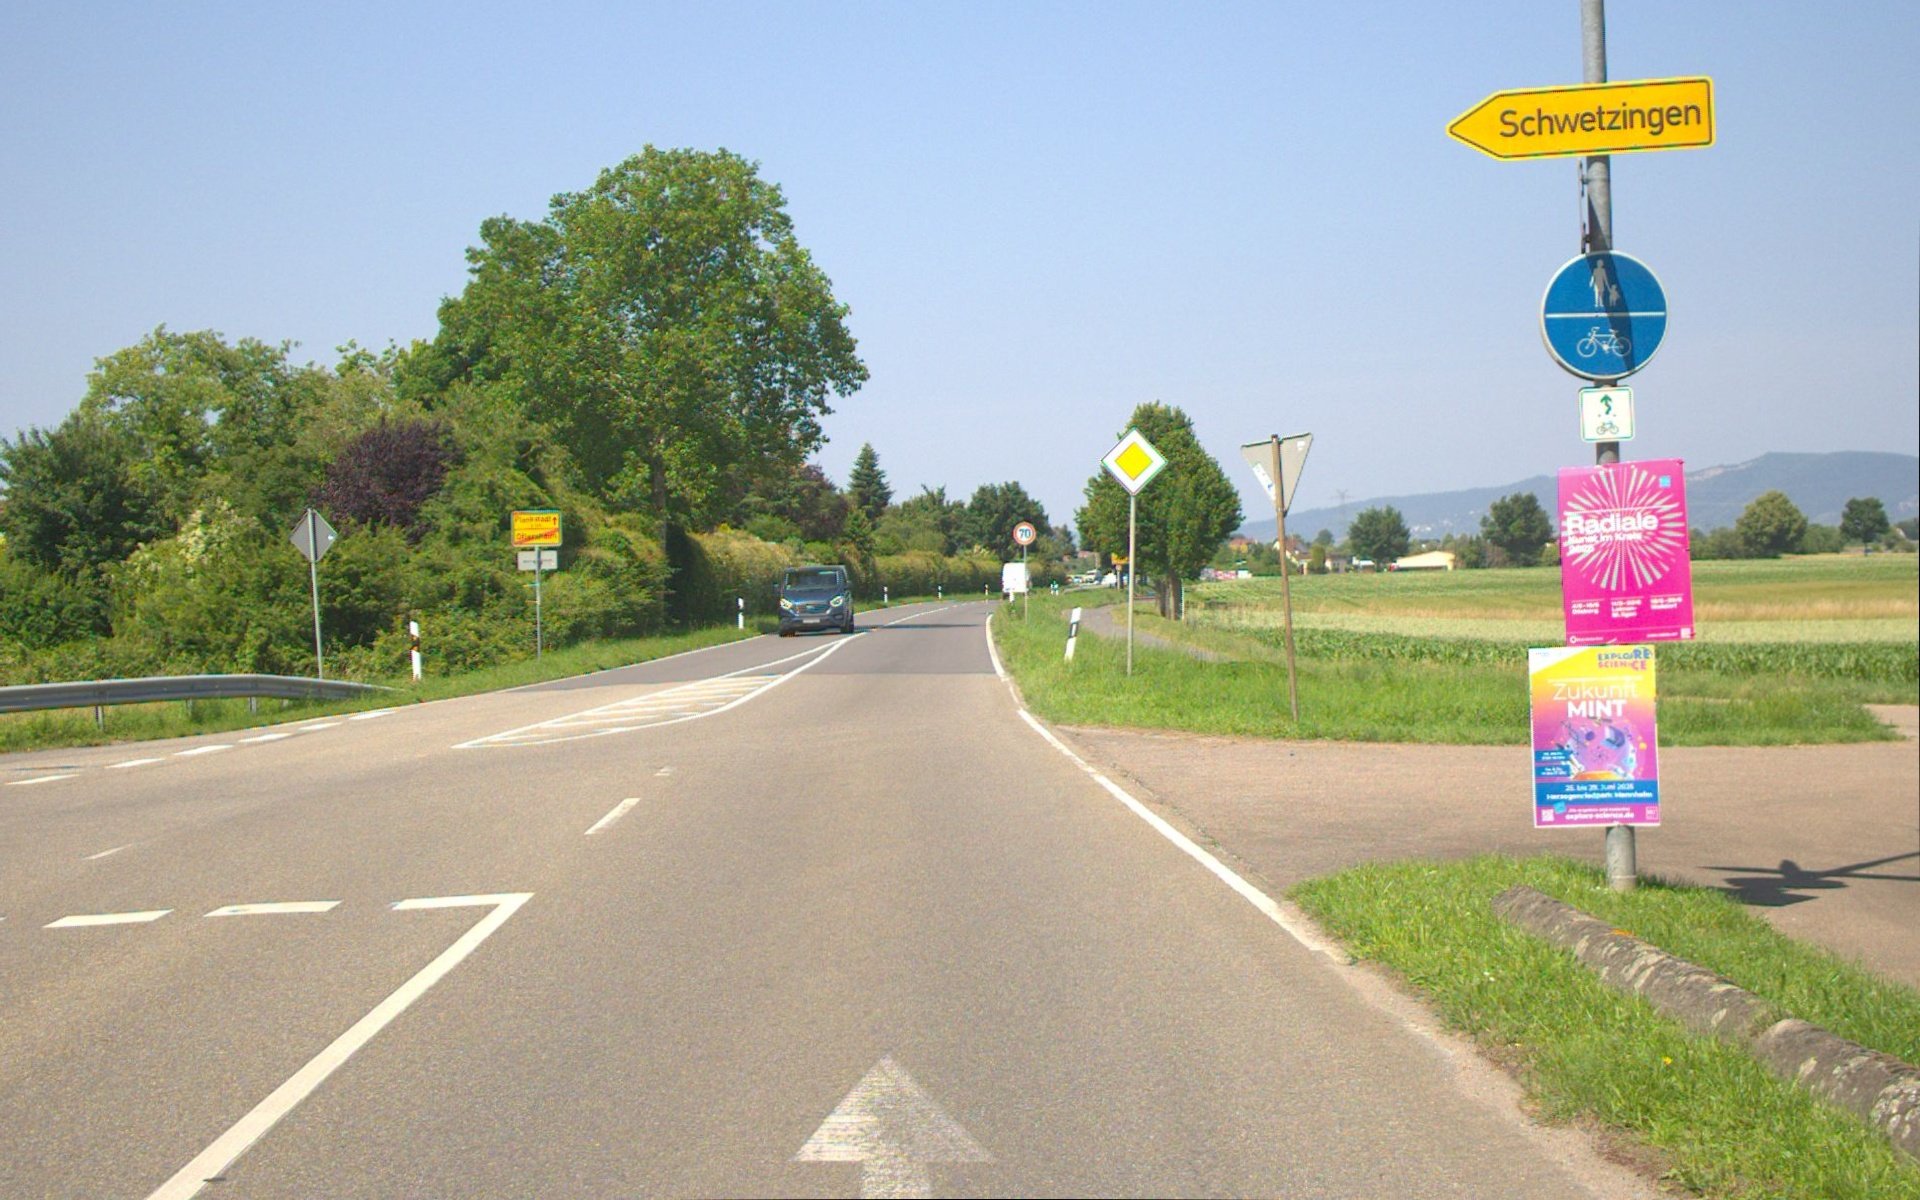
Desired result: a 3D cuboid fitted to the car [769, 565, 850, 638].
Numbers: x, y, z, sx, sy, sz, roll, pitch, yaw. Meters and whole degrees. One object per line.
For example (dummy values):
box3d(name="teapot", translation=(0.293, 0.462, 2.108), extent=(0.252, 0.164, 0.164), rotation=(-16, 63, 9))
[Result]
box3d(name="car", translation=(-4.302, 0.016, 98.867), extent=(2.144, 1.944, 5.248), rotation=(-2, 1, -1))

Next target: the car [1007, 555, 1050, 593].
box3d(name="car", translation=(4.950, -1.897, 247.955), extent=(1.995, 2.642, 3.997), rotation=(-2, 1, 16))
